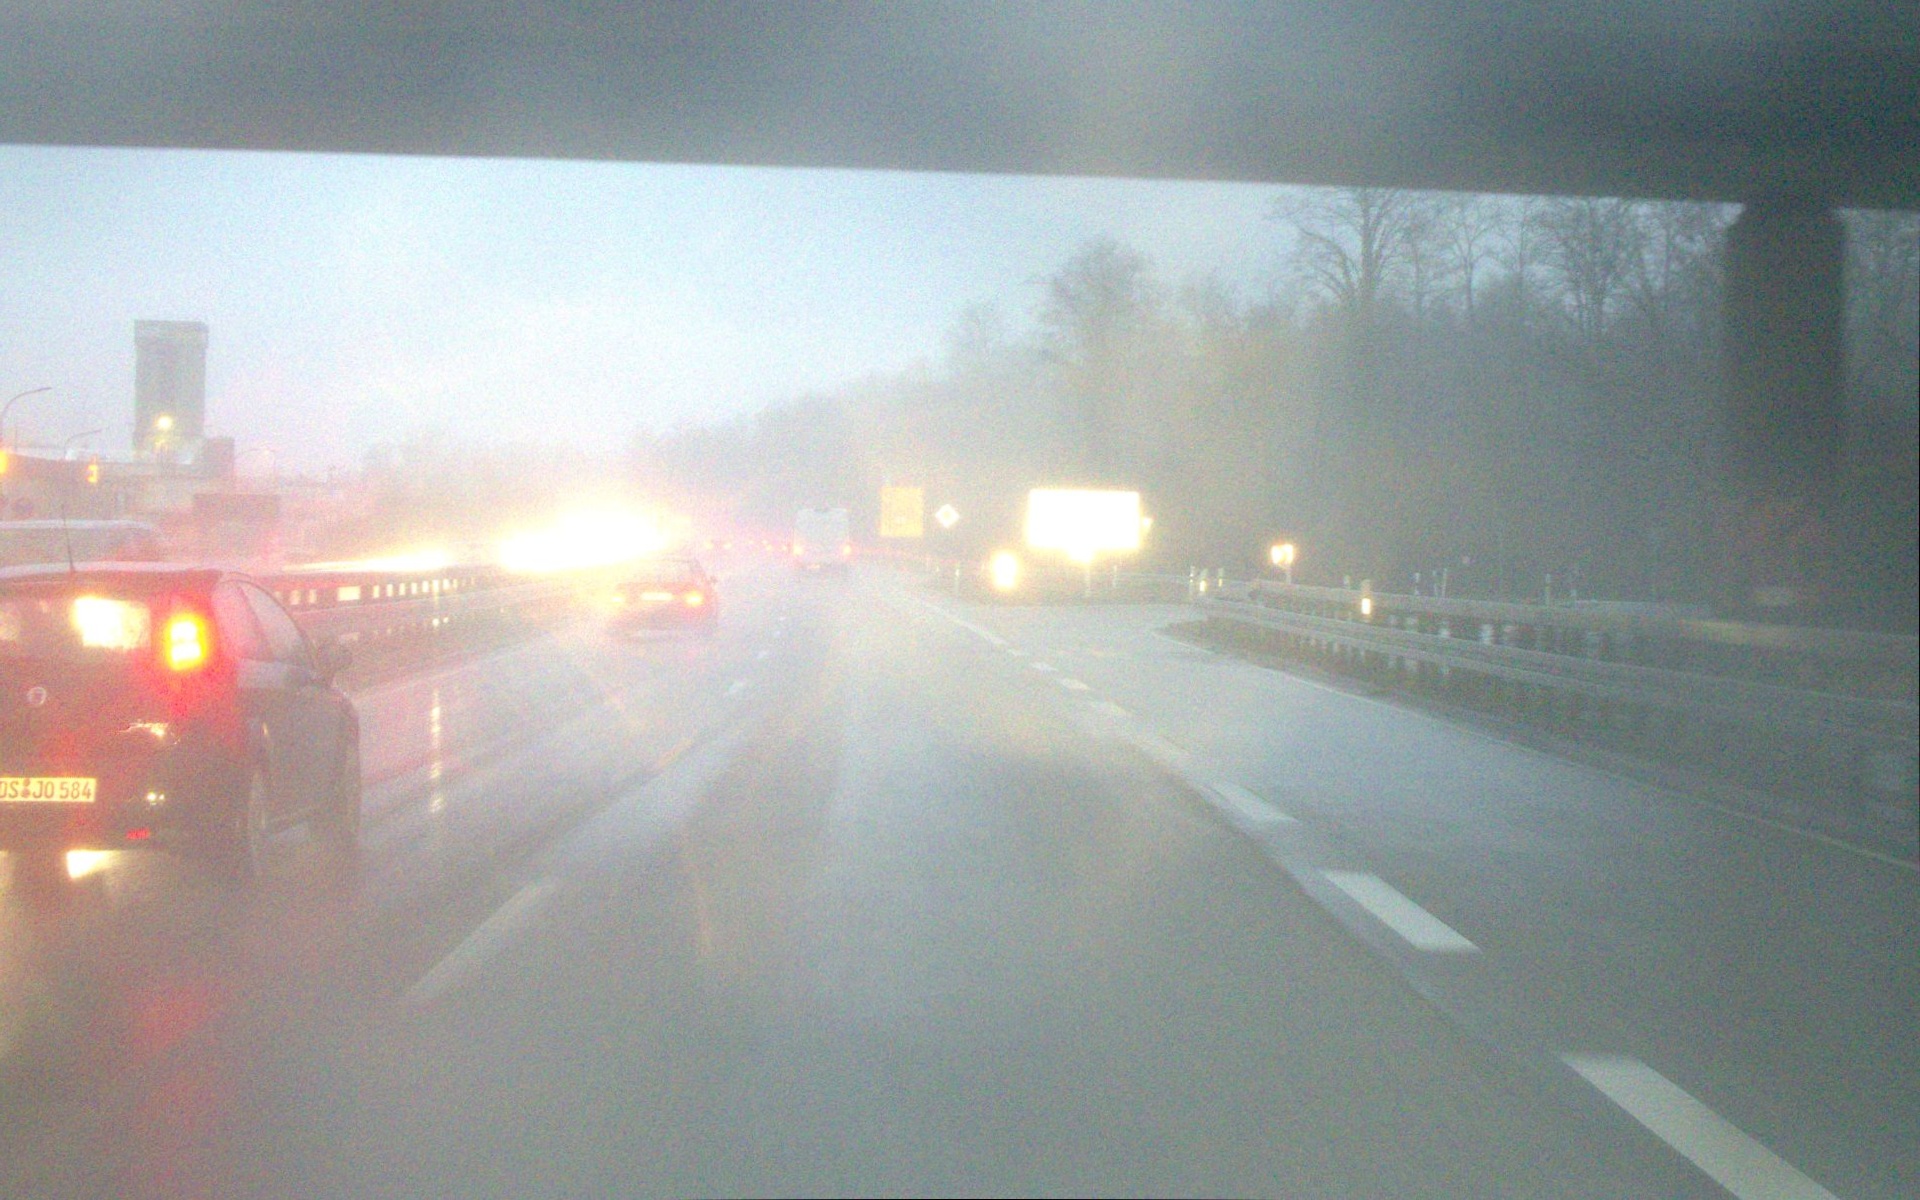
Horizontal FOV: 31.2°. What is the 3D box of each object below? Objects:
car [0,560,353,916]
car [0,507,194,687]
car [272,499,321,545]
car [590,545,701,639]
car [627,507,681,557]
[{"bbox_3d":[-3.973,0.576,16.558,1.527,1.411,3.479,3,1,-2],"label":"car"},{"bbox_3d":[-10.518,-0.101,40.232,1.993,1.866,5.271,3,1,-2],"label":"car"},{"bbox_3d":[-28.062,-3.289,145.559,1.890,1.815,3.875,3,1,-10],"label":"car"},{"bbox_3d":[-5.297,-0.170,58.344,1.775,1.529,4.703,0,1,-4],"label":"car"},{"bbox_3d":[-13.790,-3.065,154.786,2.122,2.113,3.576,3,1,-8],"label":"car"}]
